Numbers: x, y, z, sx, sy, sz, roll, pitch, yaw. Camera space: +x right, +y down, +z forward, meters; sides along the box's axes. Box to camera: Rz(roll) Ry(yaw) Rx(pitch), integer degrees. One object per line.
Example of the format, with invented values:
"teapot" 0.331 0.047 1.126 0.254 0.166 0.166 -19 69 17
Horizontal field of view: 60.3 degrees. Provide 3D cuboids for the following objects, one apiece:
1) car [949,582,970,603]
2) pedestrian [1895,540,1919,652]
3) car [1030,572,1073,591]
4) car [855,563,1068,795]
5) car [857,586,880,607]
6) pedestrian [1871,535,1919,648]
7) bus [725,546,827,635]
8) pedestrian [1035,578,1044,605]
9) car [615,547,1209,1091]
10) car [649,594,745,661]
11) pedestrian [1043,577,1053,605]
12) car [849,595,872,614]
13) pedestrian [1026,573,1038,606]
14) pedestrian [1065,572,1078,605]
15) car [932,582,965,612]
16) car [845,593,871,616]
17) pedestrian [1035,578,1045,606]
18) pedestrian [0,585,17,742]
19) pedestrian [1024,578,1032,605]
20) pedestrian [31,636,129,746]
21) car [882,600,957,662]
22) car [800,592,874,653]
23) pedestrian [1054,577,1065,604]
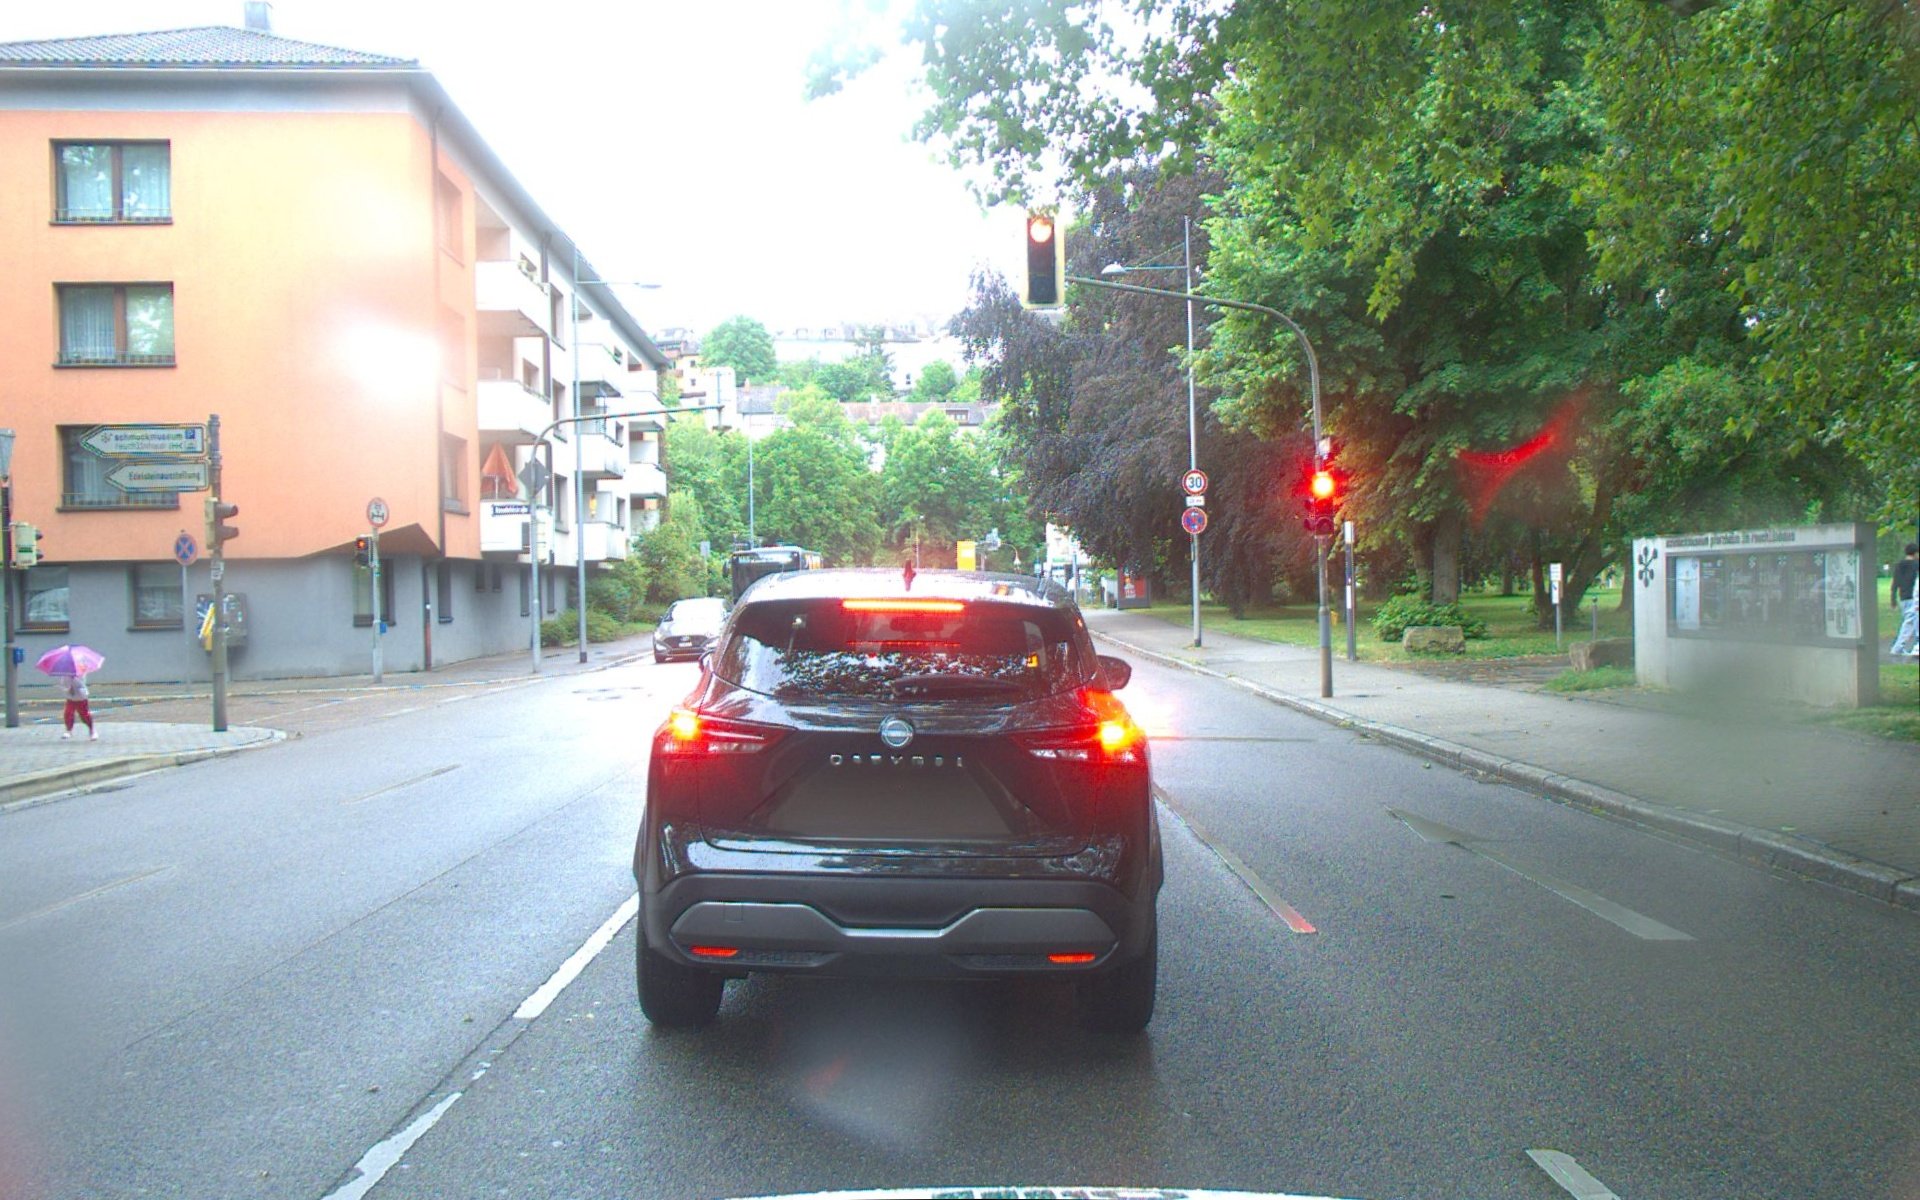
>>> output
"car" -0.071 -0.604 137.852 1.714 1.662 3.634 -2 1 0
"pedestrian" 15.191 -0.052 25.856 0.651 1.742 0.789 1 -1 -9
"car" 9.062 -1.802 164.404 3.916 1.713 1.995 -2 0 -11
"car" 0.038 0.602 14.692 1.588 1.738 3.771 -2 0 1
"car" -7.696 -0.339 138.843 1.714 1.662 3.634 -2 1 0
"pedestrian" 15.283 -0.130 26.734 0.651 1.787 0.722 1 -1 -9
"bus" -6.910 -0.339 63.784 2.710 3.026 11.779 -1 0 -1
"pedestrian" 4.884 -0.525 101.949 0.533 1.680 0.490 1 -1 0
"car" -0.170 0.673 7.003 1.769 1.618 3.999 1 0 -1
"car" -6.425 0.640 40.817 1.772 1.441 4.029 -3 1 -2
"pedestrian" 5.861 -0.607 109.960 0.606 1.810 0.550 -2 0 -1
"car" -7.742 0.344 129.478 1.643 1.318 3.750 -3 1 -2
"pedestrian" 4.890 -0.732 112.617 0.752 2.222 0.711 1 -1 2
"pedestrian" 6.239 -0.641 92.298 0.606 1.810 0.778 -2 0 -1
"car" -0.571 -0.152 83.158 1.591 1.439 3.454 -2 0 0
"car" -7.138 0.331 116.077 1.643 1.495 4.215 -3 1 -2
"pedestrian" 4.861 -0.513 100.381 0.504 1.684 0.550 1 -1 -1
"pedestrian" -11.255 0.709 18.275 0.972 1.772 1.209 1 0 -1
"pedestrian" 4.193 -0.537 101.935 0.465 1.680 0.490 1 -1 0
"pedestrian" -10.061 1.030 18.930 0.670 1.195 0.826 1 0 -1
"car" -1.019 0.728 41.018 1.772 1.442 4.029 0 0 -2
"car" -3.128 0.554 42.531 1.591 1.439 3.454 -2 0 0
"pedestrian" 6.663 -0.649 110.628 0.606 1.810 0.550 -2 0 -1
